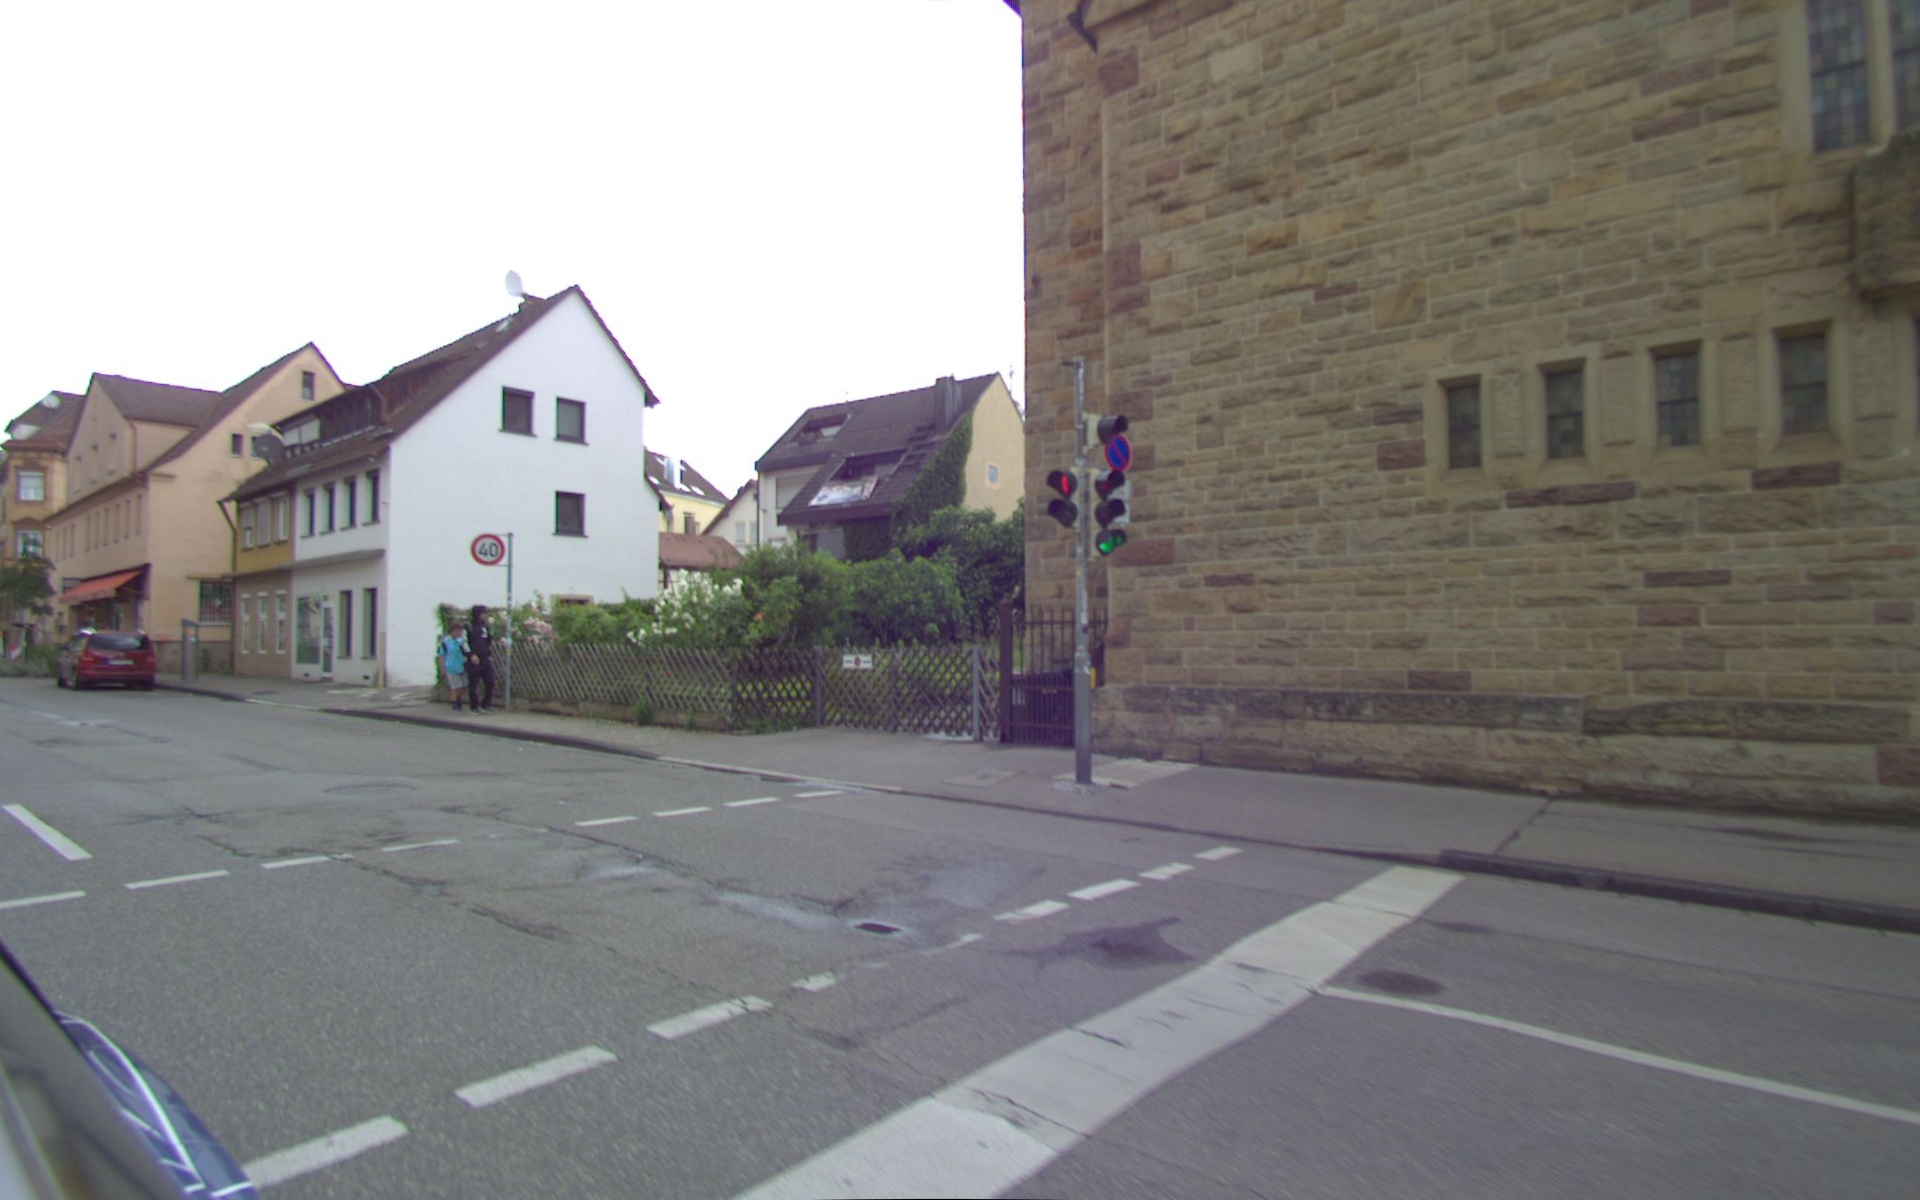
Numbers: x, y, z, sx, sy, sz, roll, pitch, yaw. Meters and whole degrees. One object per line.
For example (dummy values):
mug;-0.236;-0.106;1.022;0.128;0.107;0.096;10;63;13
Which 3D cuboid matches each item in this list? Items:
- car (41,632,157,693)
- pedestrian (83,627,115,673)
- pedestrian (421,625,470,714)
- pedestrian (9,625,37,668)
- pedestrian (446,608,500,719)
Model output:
car;-24.056;1.707;28.225;4.447;1.586;1.685;-1;-4;40
pedestrian;-31.550;1.834;37.091;0.757;1.641;0.723;-1;0;37
pedestrian;-9.372;1.258;18.437;0.696;1.566;0.565;-2;-1;41
pedestrian;-39.043;1.917;42.163;0.982;1.768;0.731;-3;-3;42
pedestrian;-8.531;1.093;17.711;0.696;1.862;0.565;-2;0;41
